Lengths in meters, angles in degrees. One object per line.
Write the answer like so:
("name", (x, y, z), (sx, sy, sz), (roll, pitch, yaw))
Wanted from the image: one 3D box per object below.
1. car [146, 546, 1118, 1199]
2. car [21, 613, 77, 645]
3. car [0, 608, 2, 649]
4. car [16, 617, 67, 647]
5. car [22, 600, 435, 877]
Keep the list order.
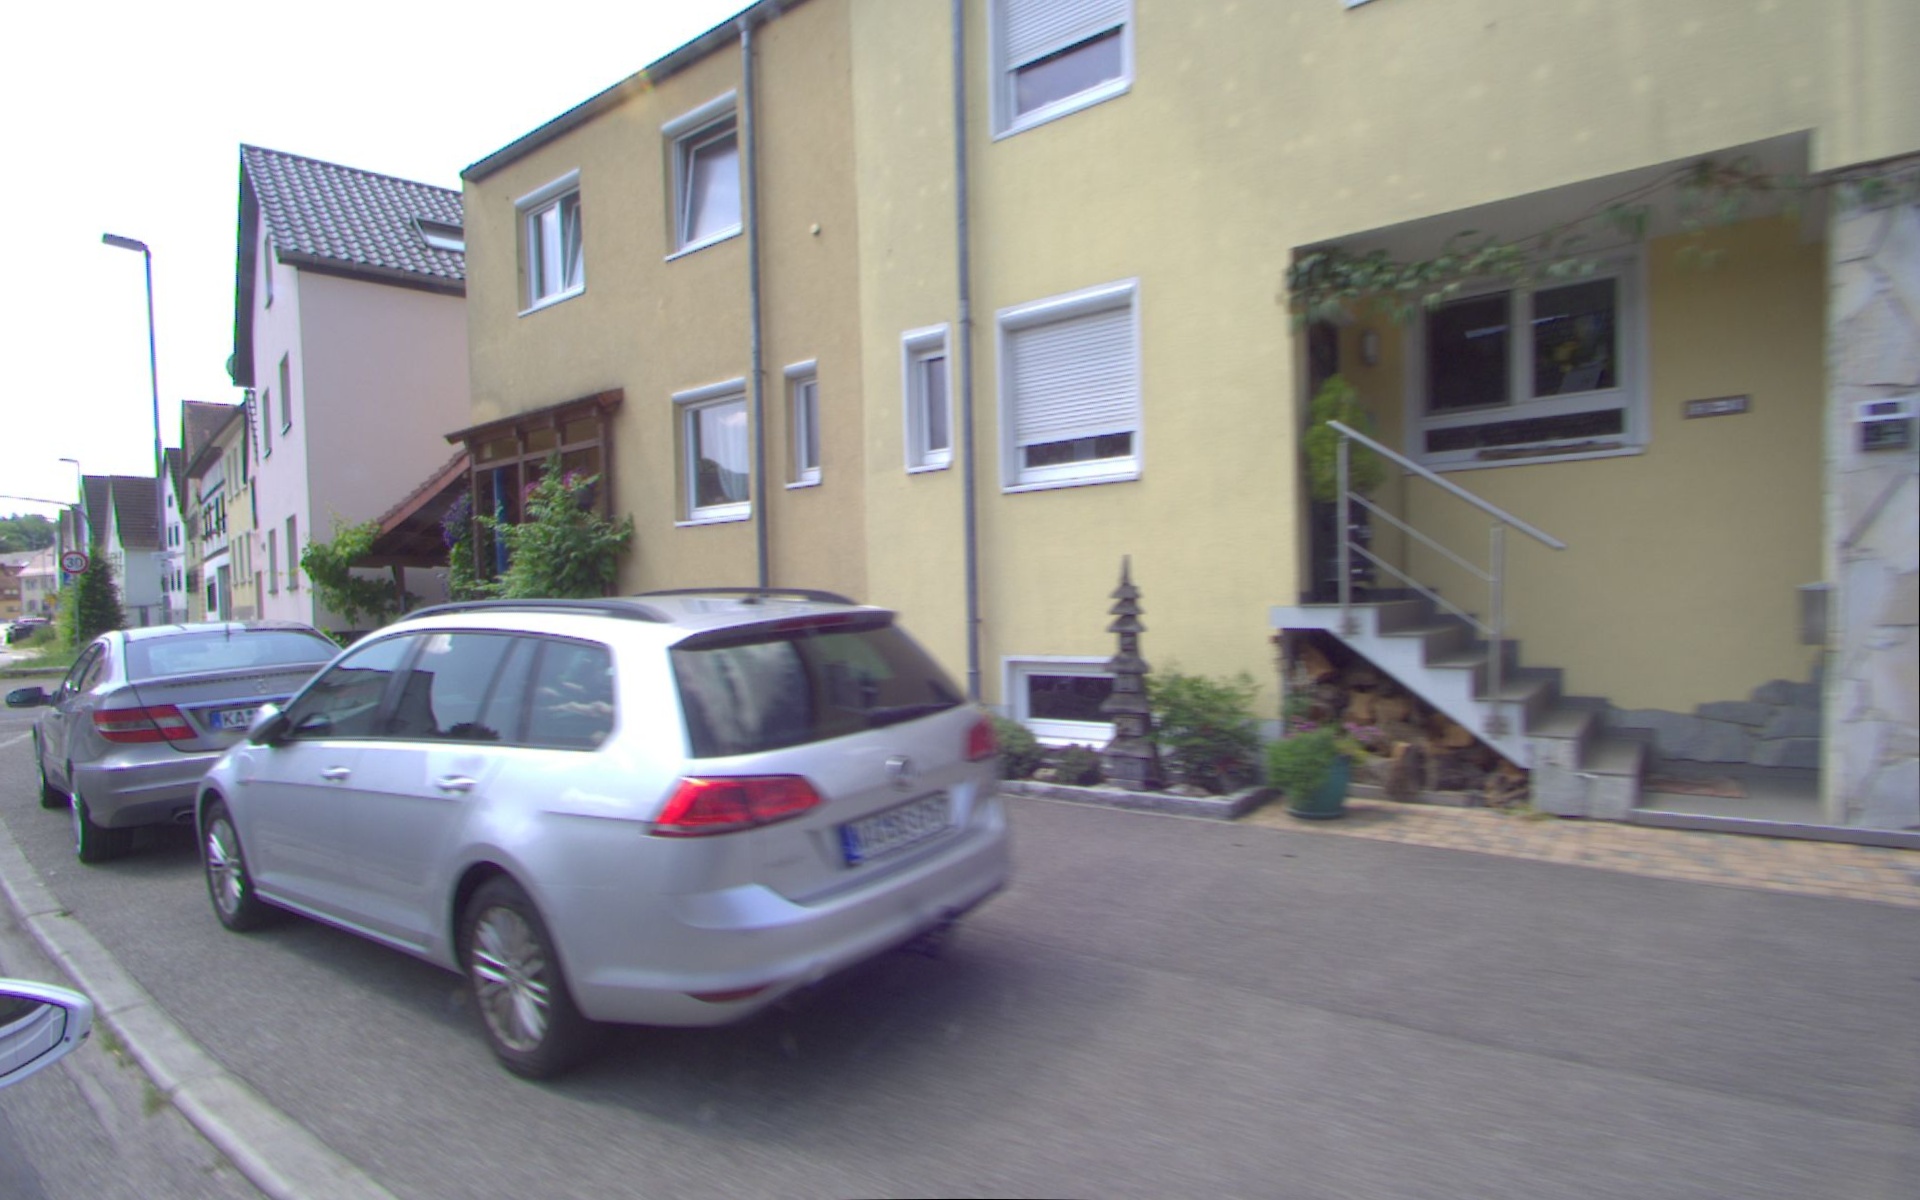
("car", (-1.681, 0.666, 4.383), (4.280, 1.551, 1.877), (-2, 2, 37))
("car", (-46.633, 1.502, 51.233), (1.981, 1.527, 3.962), (0, -2, -44))
("car", (-45.639, 1.362, 46.206), (3.961, 1.839, 1.981), (-4, -2, 45))
("car", (-51.184, 1.799, 55.780), (1.981, 1.527, 3.962), (0, -2, -44))
("car", (-5.754, 0.841, 7.629), (4.380, 1.418, 1.759), (-3, 1, 44))
